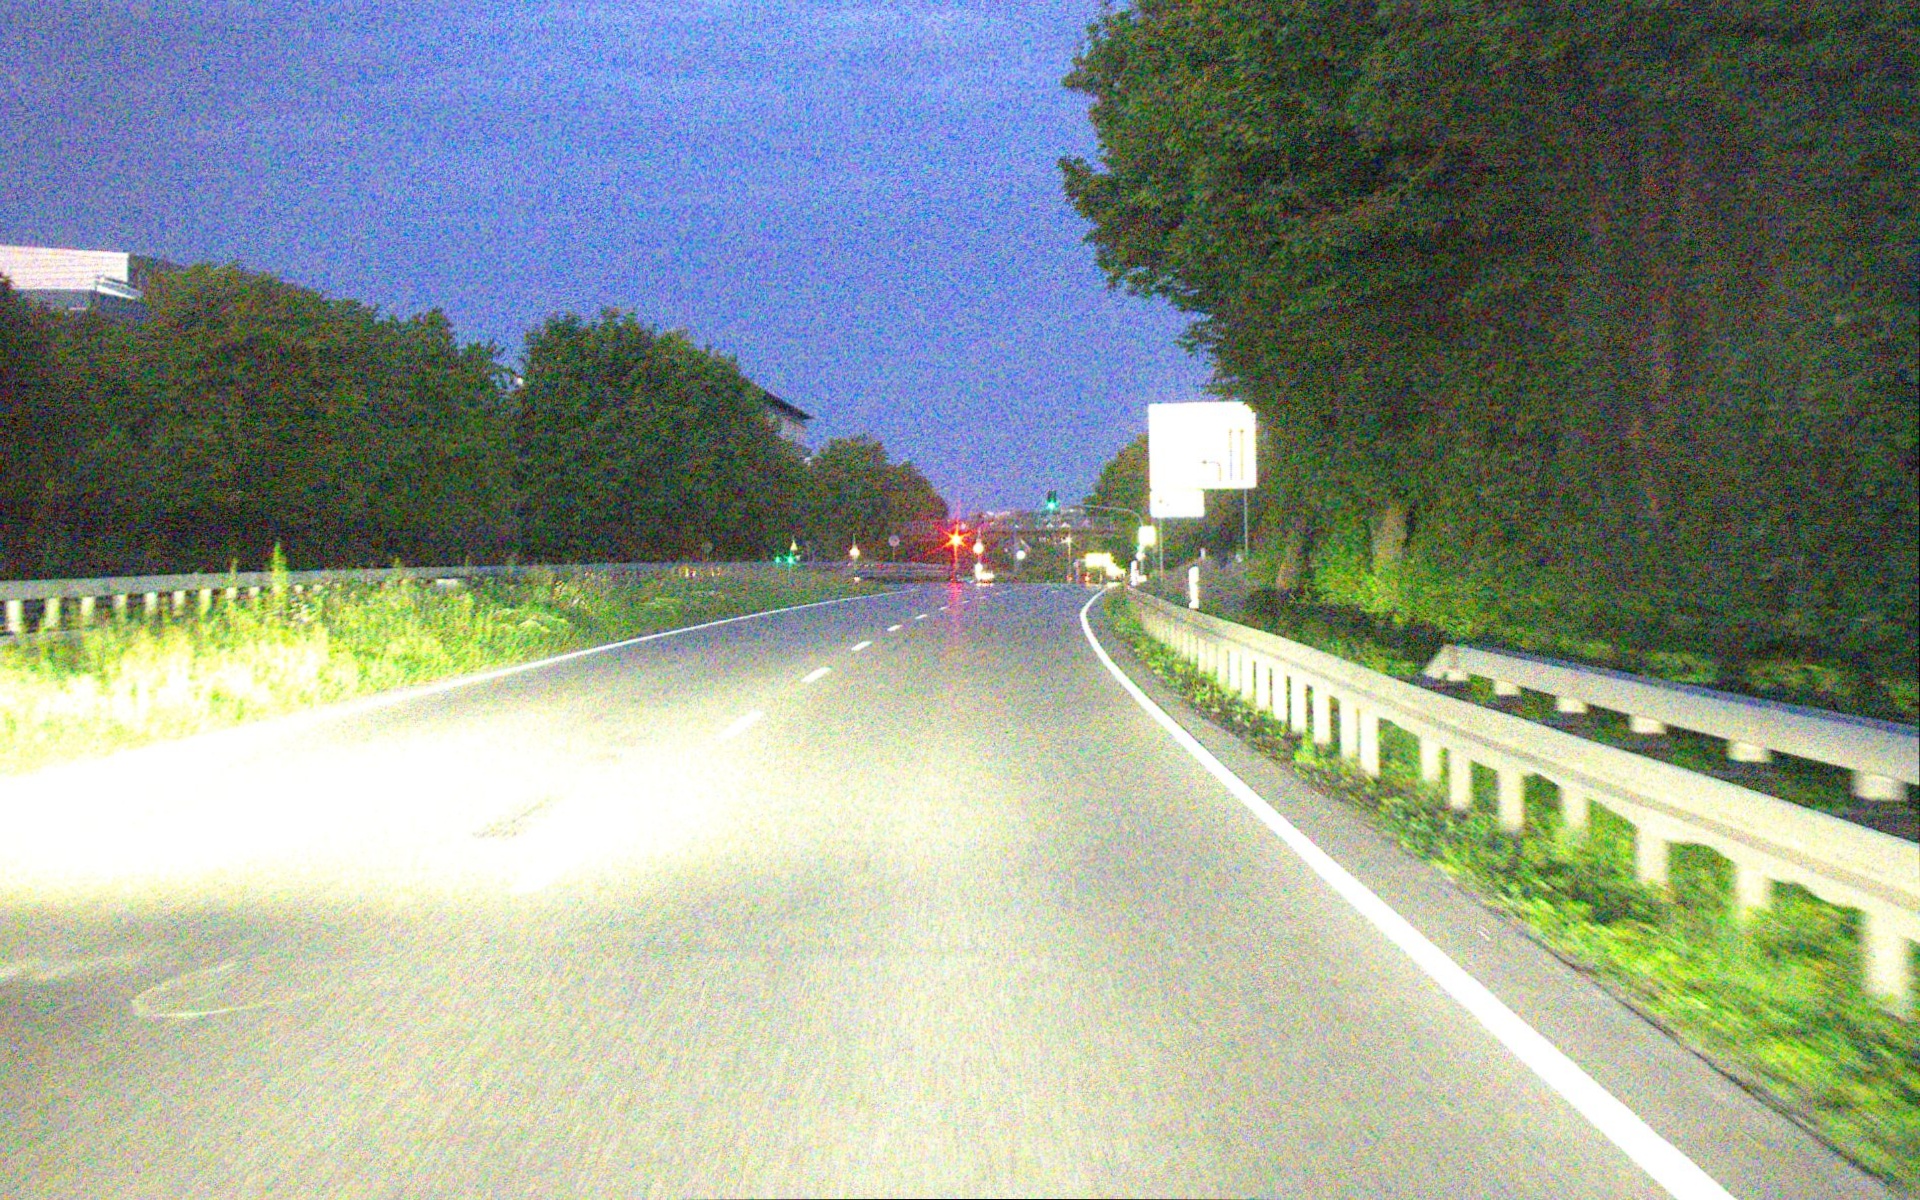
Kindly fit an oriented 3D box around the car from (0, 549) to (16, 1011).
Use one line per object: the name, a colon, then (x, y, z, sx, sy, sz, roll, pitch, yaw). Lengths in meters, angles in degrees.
car: (-3.867, 0.600, 8.911, 1.642, 1.485, 4.580, 1, 1, -1)
